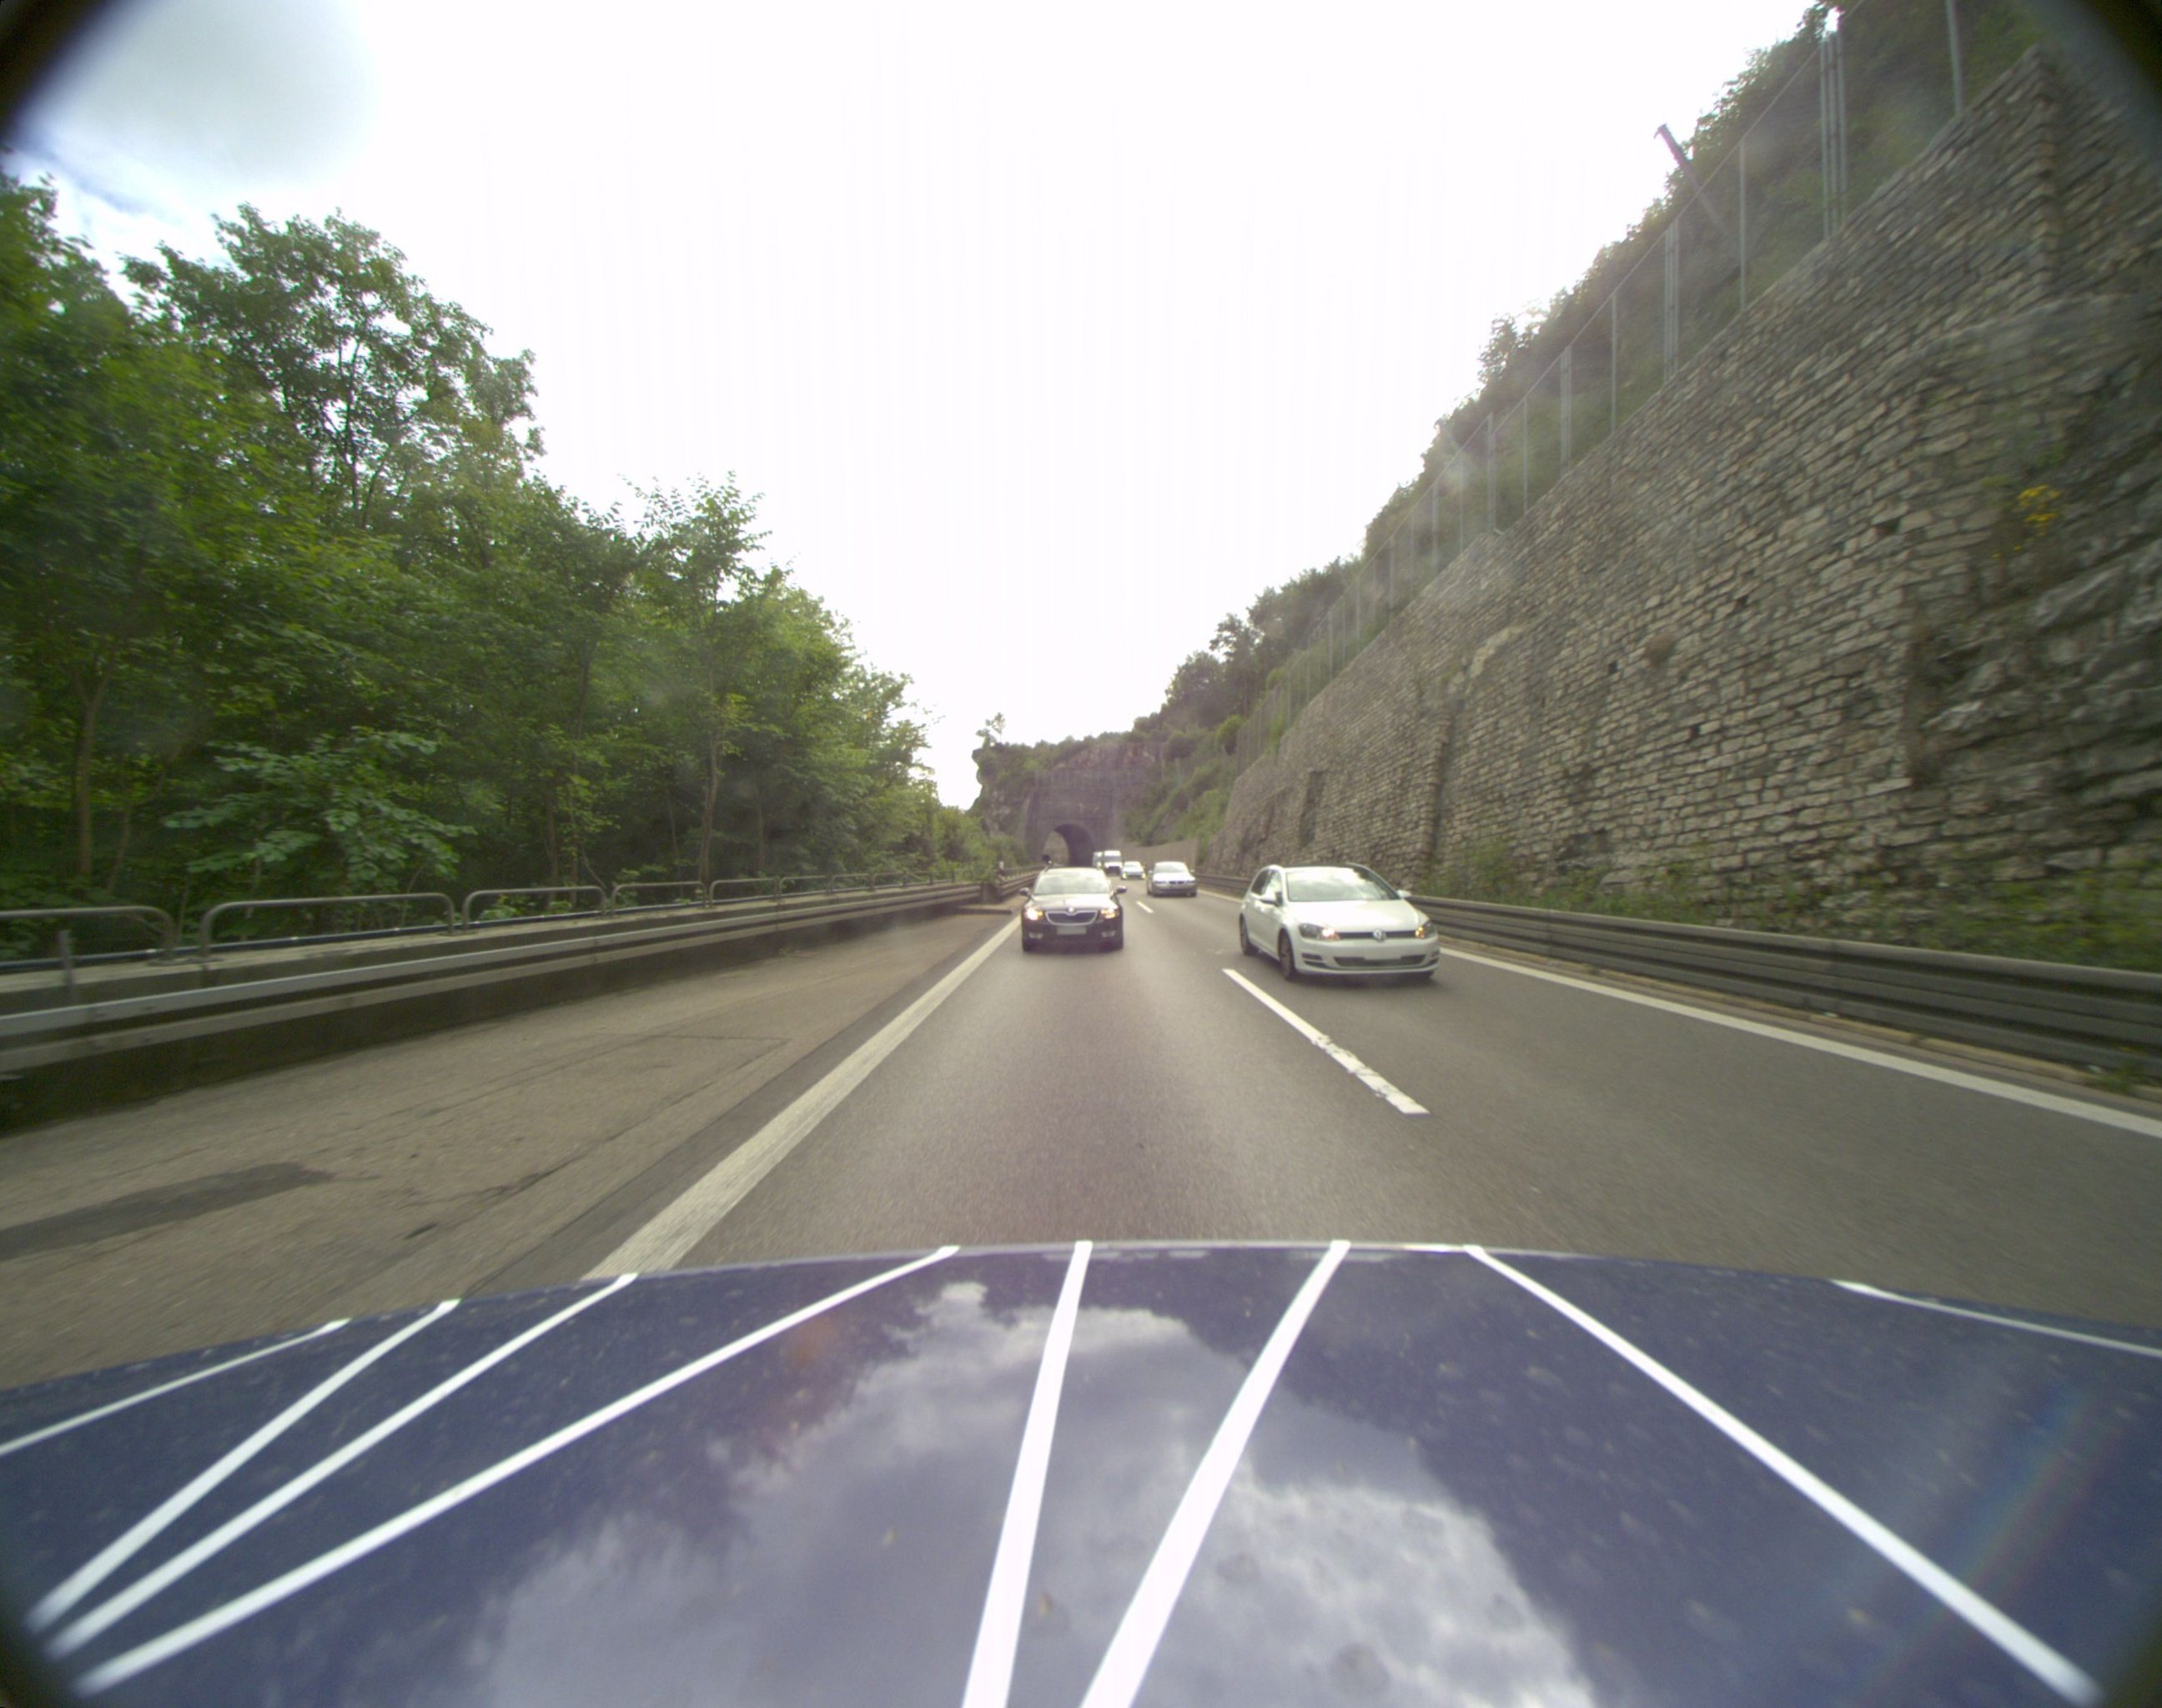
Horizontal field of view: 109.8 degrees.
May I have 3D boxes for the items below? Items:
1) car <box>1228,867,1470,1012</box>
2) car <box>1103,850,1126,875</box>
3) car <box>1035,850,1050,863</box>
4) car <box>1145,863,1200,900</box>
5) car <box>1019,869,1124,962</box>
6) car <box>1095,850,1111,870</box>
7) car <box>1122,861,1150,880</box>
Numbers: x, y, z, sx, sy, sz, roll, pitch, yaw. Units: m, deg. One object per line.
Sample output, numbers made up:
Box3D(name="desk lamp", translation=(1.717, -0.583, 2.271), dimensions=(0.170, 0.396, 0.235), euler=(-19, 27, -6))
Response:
Box3D(name="car", translation=(3.374, 0.972, 10.630), dimensions=(1.849, 1.473, 4.628), euler=(-1, 0, 1))
Box3D(name="car", translation=(3.483, 0.883, 80.302), dimensions=(1.869, 2.444, 4.981), euler=(-2, 1, -2))
Box3D(name="car", translation=(-7.657, 0.482, 152.259), dimensions=(2.675, 2.408, 6.119), euler=(-2, -1, -5))
Box3D(name="car", translation=(3.918, 1.132, 33.254), dimensions=(1.832, 1.448, 5.136), euler=(-2, -1, 1))
Box3D(name="car", translation=(-0.102, 1.053, 14.679), dimensions=(1.677, 1.418, 4.473), euler=(-2, -1, 1))
Box3D(name="car", translation=(2.849, 0.720, 97.133), dimensions=(1.868, 2.444, 4.983), euler=(-2, 1, 2))
Box3D(name="car", translation=(4.504, 1.298, 62.423), dimensions=(1.923, 1.452, 4.230), euler=(-2, -1, -1))
